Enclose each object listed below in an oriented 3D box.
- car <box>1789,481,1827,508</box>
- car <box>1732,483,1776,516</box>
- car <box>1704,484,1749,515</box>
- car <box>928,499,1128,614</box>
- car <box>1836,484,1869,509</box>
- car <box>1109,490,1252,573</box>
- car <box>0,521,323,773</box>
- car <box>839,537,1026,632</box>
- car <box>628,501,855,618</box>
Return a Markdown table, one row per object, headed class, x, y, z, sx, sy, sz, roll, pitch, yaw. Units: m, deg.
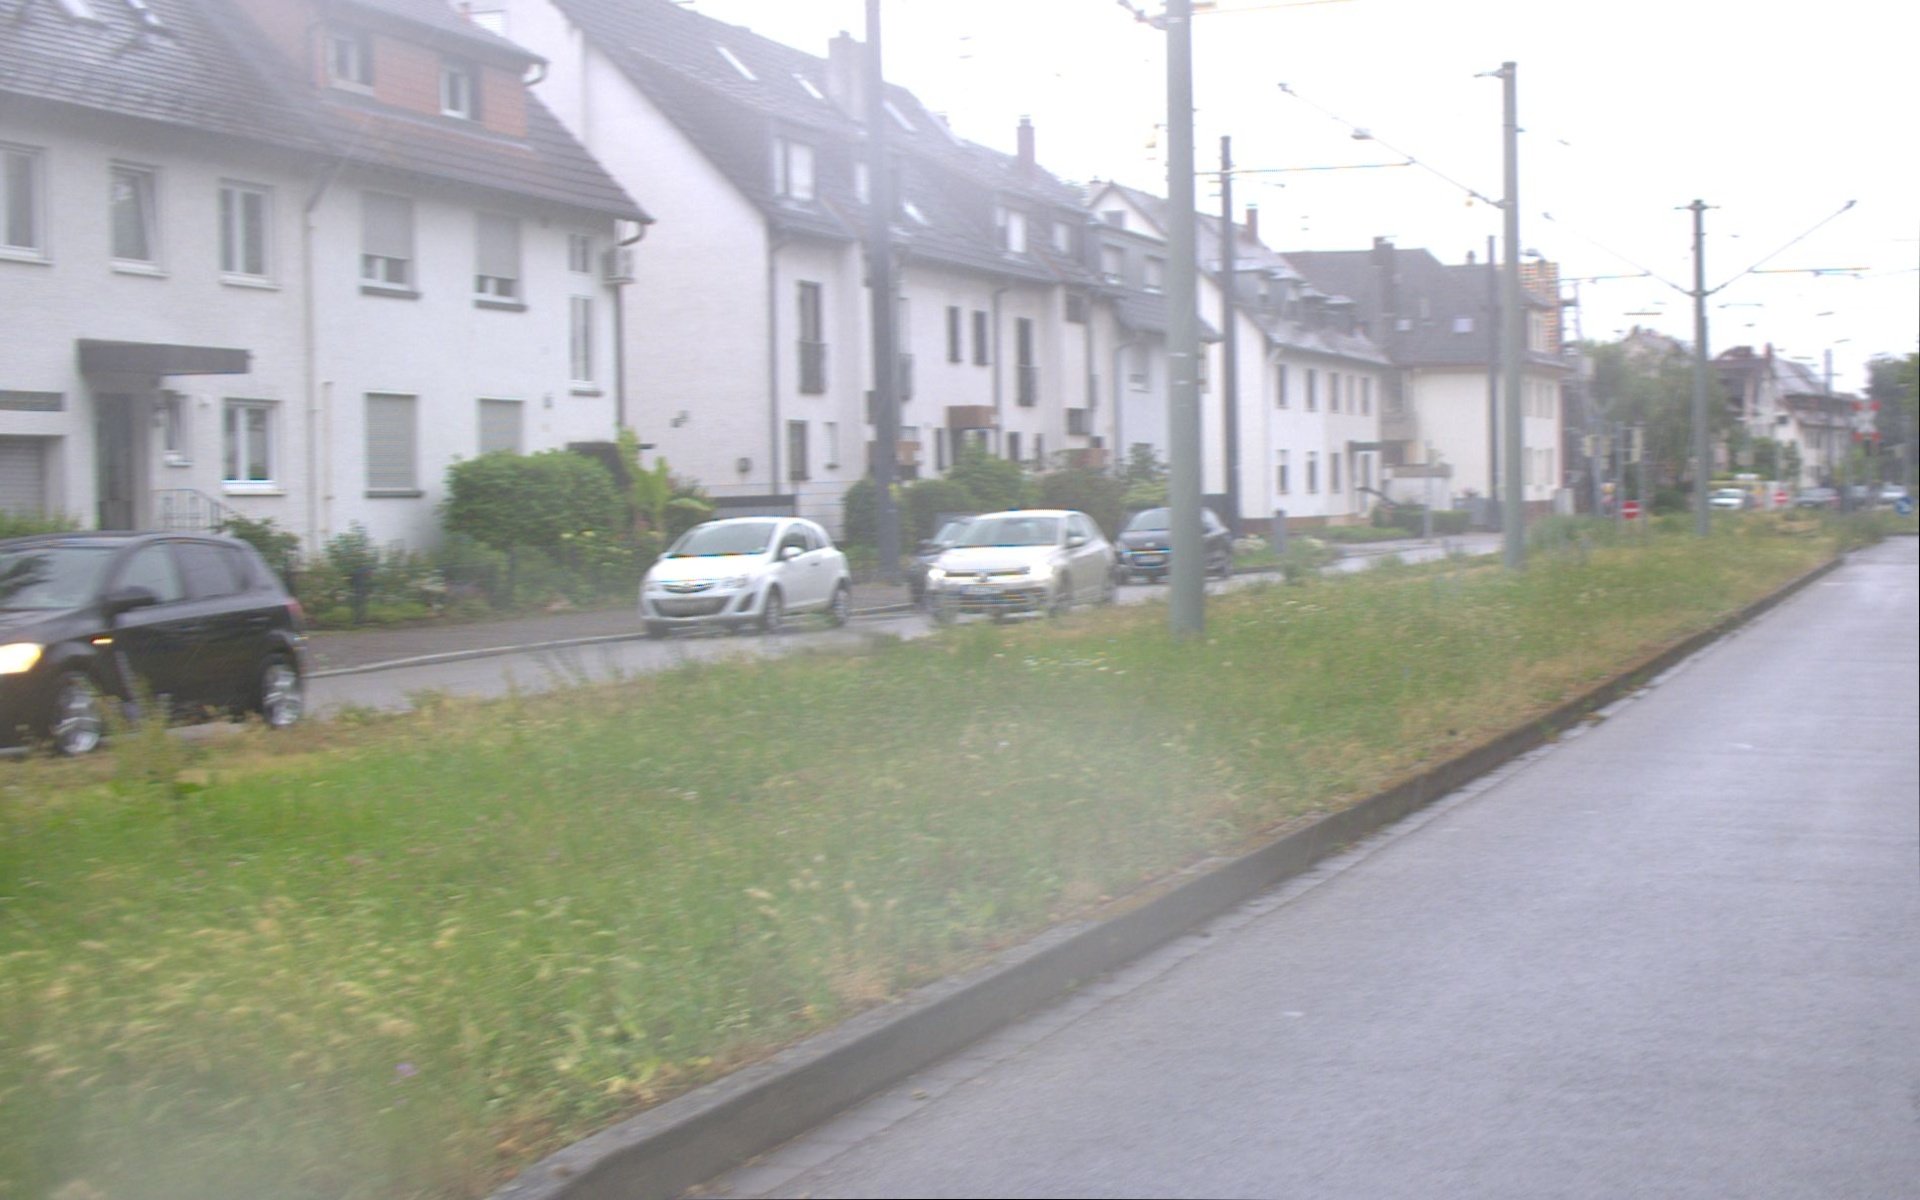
| class | x | y | z | sx | sy | sz | roll | pitch | yaw |
| --- | --- | --- | --- | --- | --- | --- | --- | --- | --- |
| car | 53.035 | -6.590 | 214.906 | 1.995 | 1.538 | 3.996 | -1 | 0 | 18 |
| car | 44.185 | -5.558 | 191.263 | 1.995 | 1.699 | 3.996 | -1 | 0 | 18 |
| car | 41.477 | -5.438 | 185.969 | 1.995 | 1.538 | 3.996 | -1 | 0 | 18 |
| car | 0.936 | -0.541 | 44.930 | 1.602 | 1.419 | 3.817 | -1 | 0 | 17 |
| car | 62.105 | -7.187 | 239.260 | 1.995 | 1.538 | 3.996 | -1 | 0 | 18 |
| car | 4.319 | -1.308 | 66.807 | 1.878 | 1.498 | 4.130 | -1 | 0 | 16 |
| car | -5.891 | 0.284 | 22.332 | 1.738 | 1.481 | 3.996 | -1 | 0 | 18 |
| car | -0.381 | -0.235 | 54.147 | 1.602 | 1.419 | 4.663 | -1 | 0 | 17 |
| car | -2.745 | -0.491 | 44.039 | 1.602 | 1.419 | 3.940 | -1 | 0 | 17 |
